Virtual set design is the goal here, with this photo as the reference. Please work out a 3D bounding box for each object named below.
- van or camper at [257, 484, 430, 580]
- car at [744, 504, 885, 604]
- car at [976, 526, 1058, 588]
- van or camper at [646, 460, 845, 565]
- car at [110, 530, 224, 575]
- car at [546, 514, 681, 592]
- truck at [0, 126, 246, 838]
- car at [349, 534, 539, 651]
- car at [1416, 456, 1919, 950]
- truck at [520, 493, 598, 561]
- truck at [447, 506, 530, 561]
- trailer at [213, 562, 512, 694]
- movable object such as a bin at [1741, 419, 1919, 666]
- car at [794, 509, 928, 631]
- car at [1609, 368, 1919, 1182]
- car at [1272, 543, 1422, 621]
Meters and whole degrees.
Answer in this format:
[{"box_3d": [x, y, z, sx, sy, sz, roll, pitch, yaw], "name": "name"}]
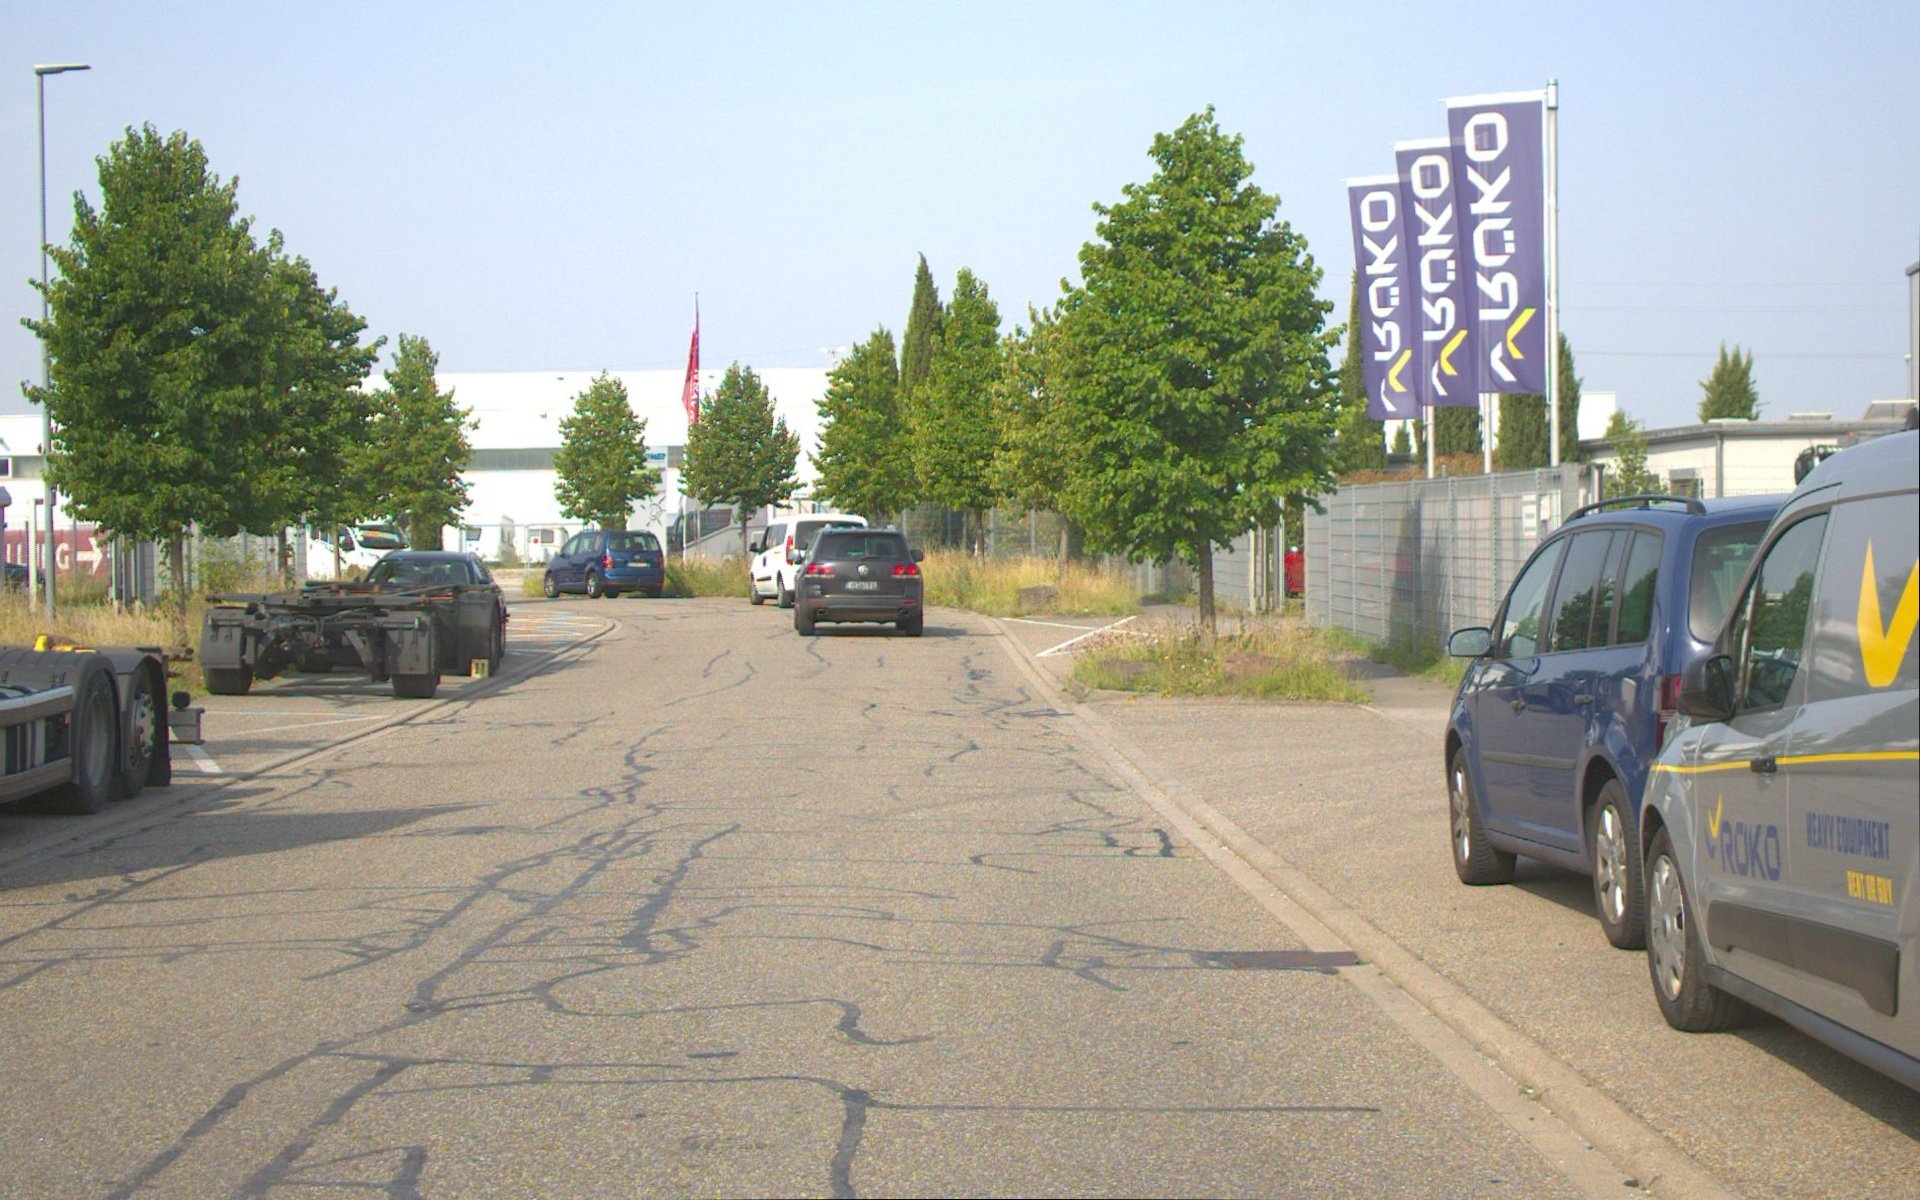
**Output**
[{"box_3d": [-19.501, -2.139, 108.480, 2.331, 2.933, 6.969, -1, 2, -39], "name": "van or camper"}, {"box_3d": [-2.932, -0.937, 68.330, 1.993, 1.893, 4.469, -1, 1, -13], "name": "car"}, {"box_3d": [1.552, -1.210, 95.186, 1.722, 1.637, 4.001, 1, 1, -7], "name": "car"}, {"box_3d": [-6.080, -2.419, 96.421, 2.349, 2.838, 7.342, -1, 1, -32], "name": "van or camper"}, {"box_3d": [-26.646, -1.621, 115.654, 2.167, 1.471, 3.998, 0, 1, 14], "name": "car"}, {"box_3d": [-8.396, -1.152, 82.993, 1.993, 1.798, 4.001, 0, 1, -25], "name": "car"}, {"box_3d": [-6.444, -0.665, 20.045, 2.455, 3.868, 9.803, 1, 1, 0], "name": "truck"}, {"box_3d": [-7.090, -0.145, 47.601, 1.993, 1.461, 4.433, 1, 2, -1], "name": "car"}, {"box_3d": [3.146, 0.341, 14.123, 1.825, 1.714, 4.249, 0, 0, -2], "name": "car"}, {"box_3d": [-16.992, -3.106, 146.060, 2.450, 2.816, 8.003, 0, 1, 0], "name": "truck"}, {"box_3d": [-19.976, -2.849, 146.073, 2.450, 2.257, 8.003, 0, 1, 0], "name": "truck"}, {"box_3d": [-6.767, 0.257, 39.817, 2.130, 1.228, 7.158, 1, 2, 1], "name": "trailer"}, {"box_3d": [10.872, -0.707, 40.943, 1.886, 2.742, 5.160, -1, 1, -1], "name": "movable object such as a bin"}, {"box_3d": [-1.524, -0.496, 53.729, 1.993, 1.798, 4.000, 1, 1, -1], "name": "car"}, {"box_3d": [3.099, 0.370, 8.815, 1.993, 1.783, 4.600, 0, 0, 0], "name": "car"}, {"box_3d": [7.203, -0.360, 64.430, 1.880, 1.353, 4.774, -1, 1, -5], "name": "car"}]
